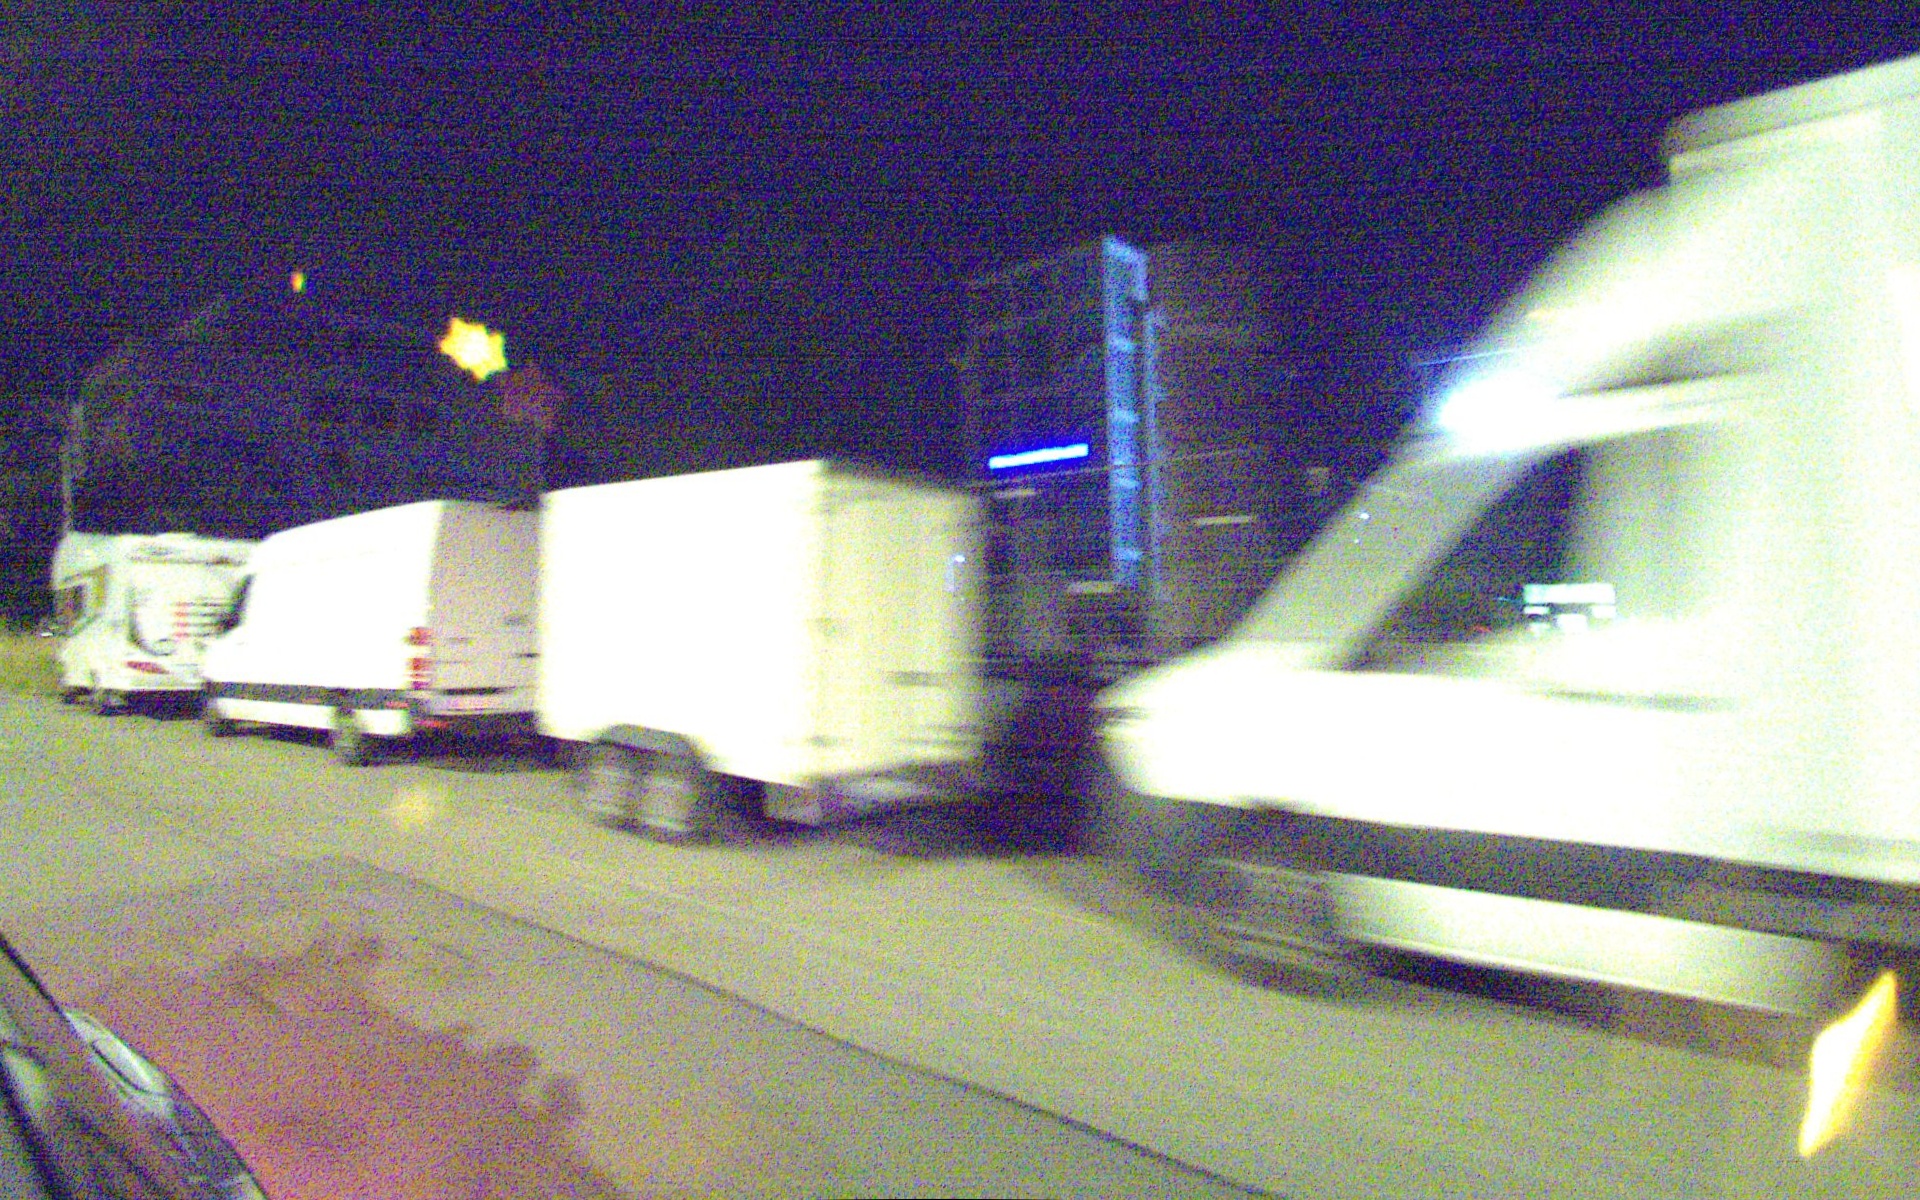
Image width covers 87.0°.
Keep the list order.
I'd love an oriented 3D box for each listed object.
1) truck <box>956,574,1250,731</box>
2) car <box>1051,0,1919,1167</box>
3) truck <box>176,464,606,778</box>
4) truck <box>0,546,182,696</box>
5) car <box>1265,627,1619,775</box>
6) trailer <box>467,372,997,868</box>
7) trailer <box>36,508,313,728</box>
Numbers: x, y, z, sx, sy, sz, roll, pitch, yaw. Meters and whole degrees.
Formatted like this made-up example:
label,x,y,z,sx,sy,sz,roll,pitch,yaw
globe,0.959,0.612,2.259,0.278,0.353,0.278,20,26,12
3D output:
label,x,y,z,sx,sy,sz,roll,pitch,yaw
truck,2.539,0.938,20.653,2.102,2.633,7.121,0,-1,-29
car,3.931,-0.201,2.908,7.224,3.268,2.358,-1,-1,39
truck,-7.120,0.247,12.088,7.236,2.805,1.974,-1,-1,39
truck,-22.424,0.484,24.532,9.308,3.088,2.722,-1,0,33
car,6.325,1.211,13.764,1.831,1.652,4.012,1,-1,-30
trailer,-1.885,0.163,7.759,3.998,2.786,1.976,-1,-3,41
trailer,-14.085,0.319,17.840,7.951,3.096,2.456,-1,-1,42
